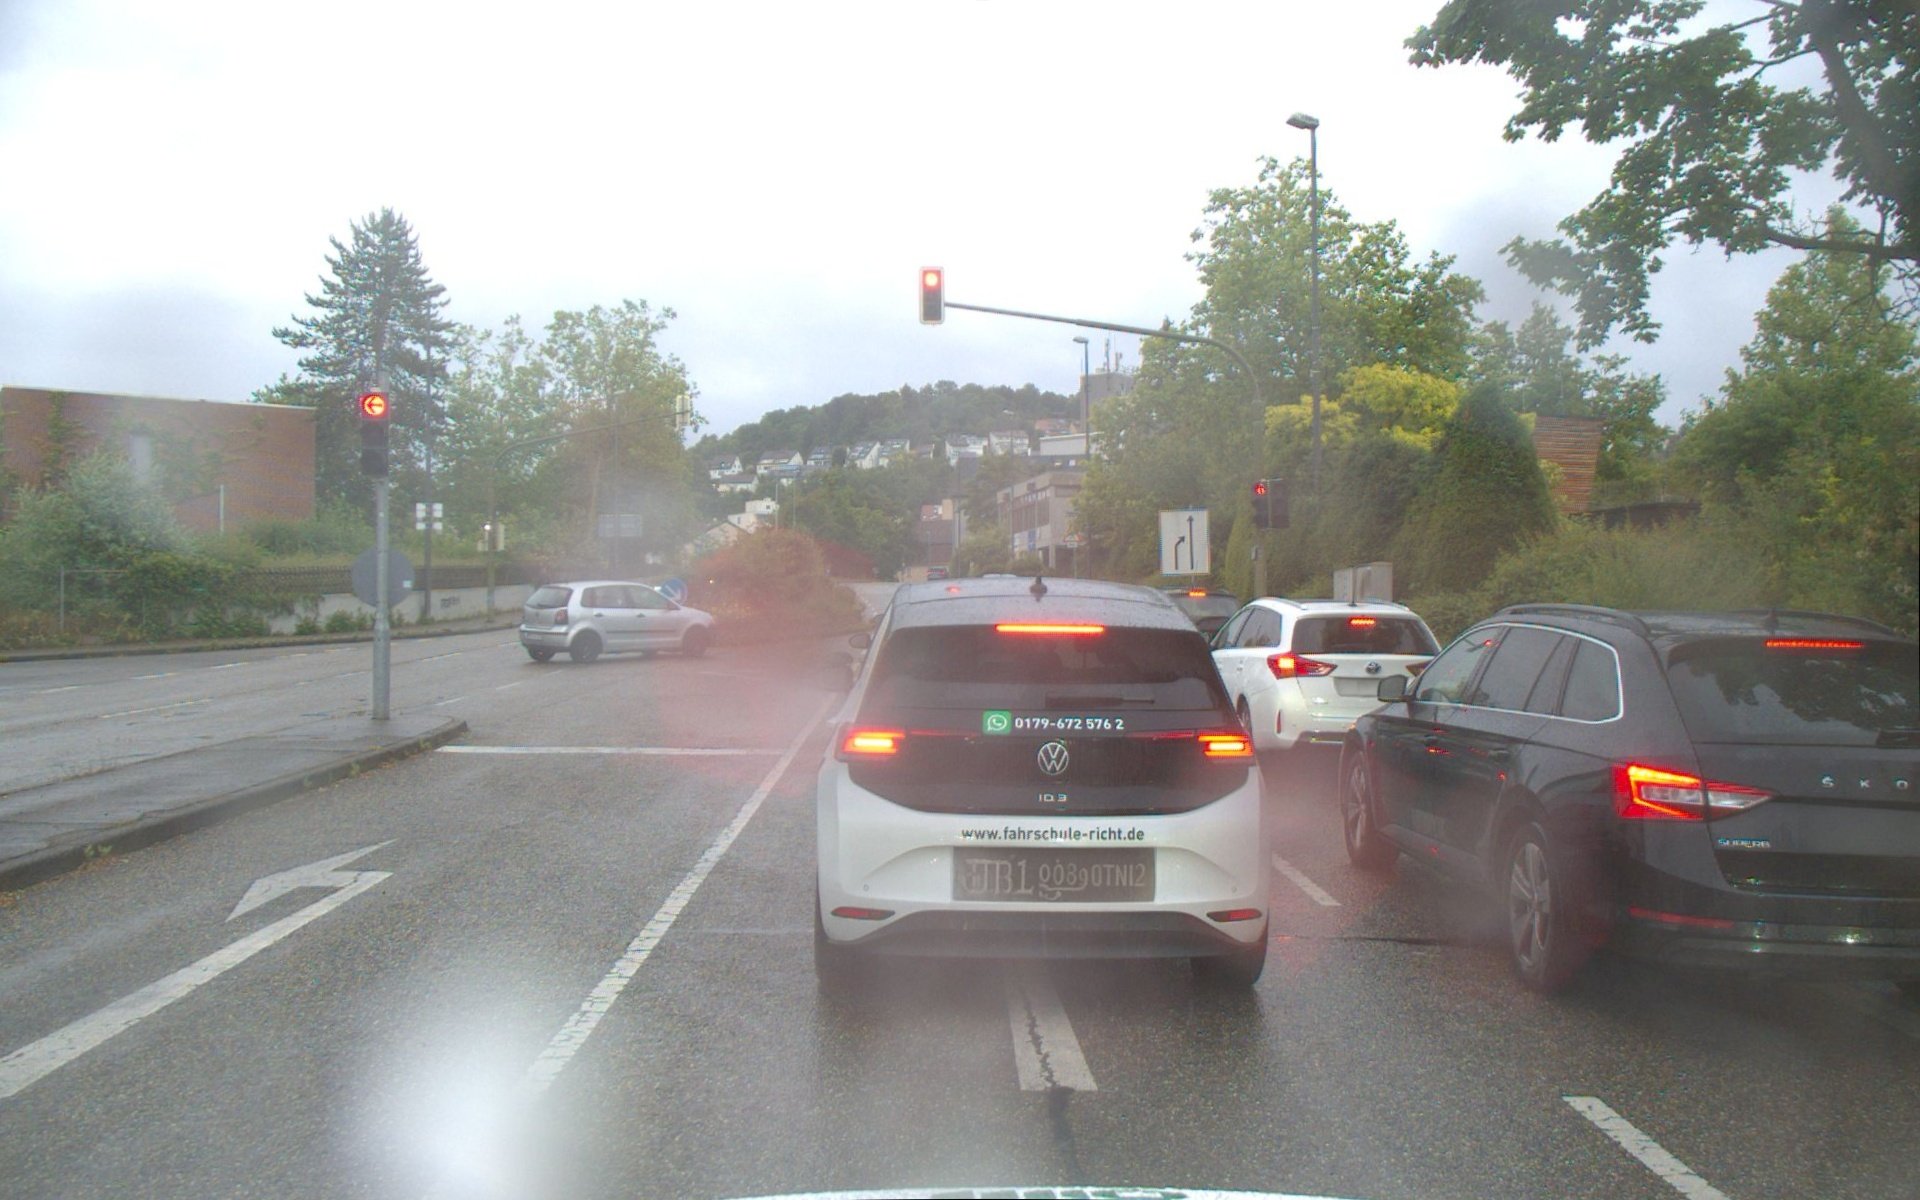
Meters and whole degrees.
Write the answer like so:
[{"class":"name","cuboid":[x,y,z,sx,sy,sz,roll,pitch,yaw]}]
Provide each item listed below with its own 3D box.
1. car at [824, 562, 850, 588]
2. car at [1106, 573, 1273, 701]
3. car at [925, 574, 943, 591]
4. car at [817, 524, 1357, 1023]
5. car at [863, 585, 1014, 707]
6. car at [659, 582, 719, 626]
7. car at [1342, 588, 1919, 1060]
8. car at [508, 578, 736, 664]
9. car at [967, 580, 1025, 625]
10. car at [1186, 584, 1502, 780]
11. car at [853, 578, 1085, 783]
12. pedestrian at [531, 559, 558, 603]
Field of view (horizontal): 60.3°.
[{"class":"car","cuboid":[-10.375,-2.081,139.777,1.953,2.049,3.999,1,-1,-1]},{"class":"car","cuboid":[3.152,0.482,23.426,1.739,1.609,3.999,1,0,-1]},{"class":"car","cuboid":[-2.594,-1.736,164.077,1.739,1.609,3.999,-2,0,-1]},{"class":"car","cuboid":[0.380,0.569,7.923,1.800,1.657,4.614,1,1,-1]},{"class":"car","cuboid":[-0.308,0.545,21.955,1.800,1.424,3.830,1,1,-1]},{"class":"car","cuboid":[-12.048,0.174,73.754,1.953,1.836,3.999,-3,0,-1]},{"class":"car","cuboid":[3.135,0.718,7.519,1.800,1.492,4.350,1,1,1]},{"class":"car","cuboid":[-6.278,0.361,30.980,3.968,1.492,1.561,-1,0,-43]},{"class":"car","cuboid":[1.231,0.058,57.394,1.726,1.443,3.747,-1,1,-3]},{"class":"car","cuboid":[3.293,0.627,15.027,1.800,1.492,4.116,1,1,-1]},{"class":"car","cuboid":[0.021,0.617,15.187,1.800,1.582,4.174,1,1,-1]},{"class":"pedestrian","cuboid":[-15.711,-0.714,62.524,0.744,1.595,0.825,-2,0,-2]}]
